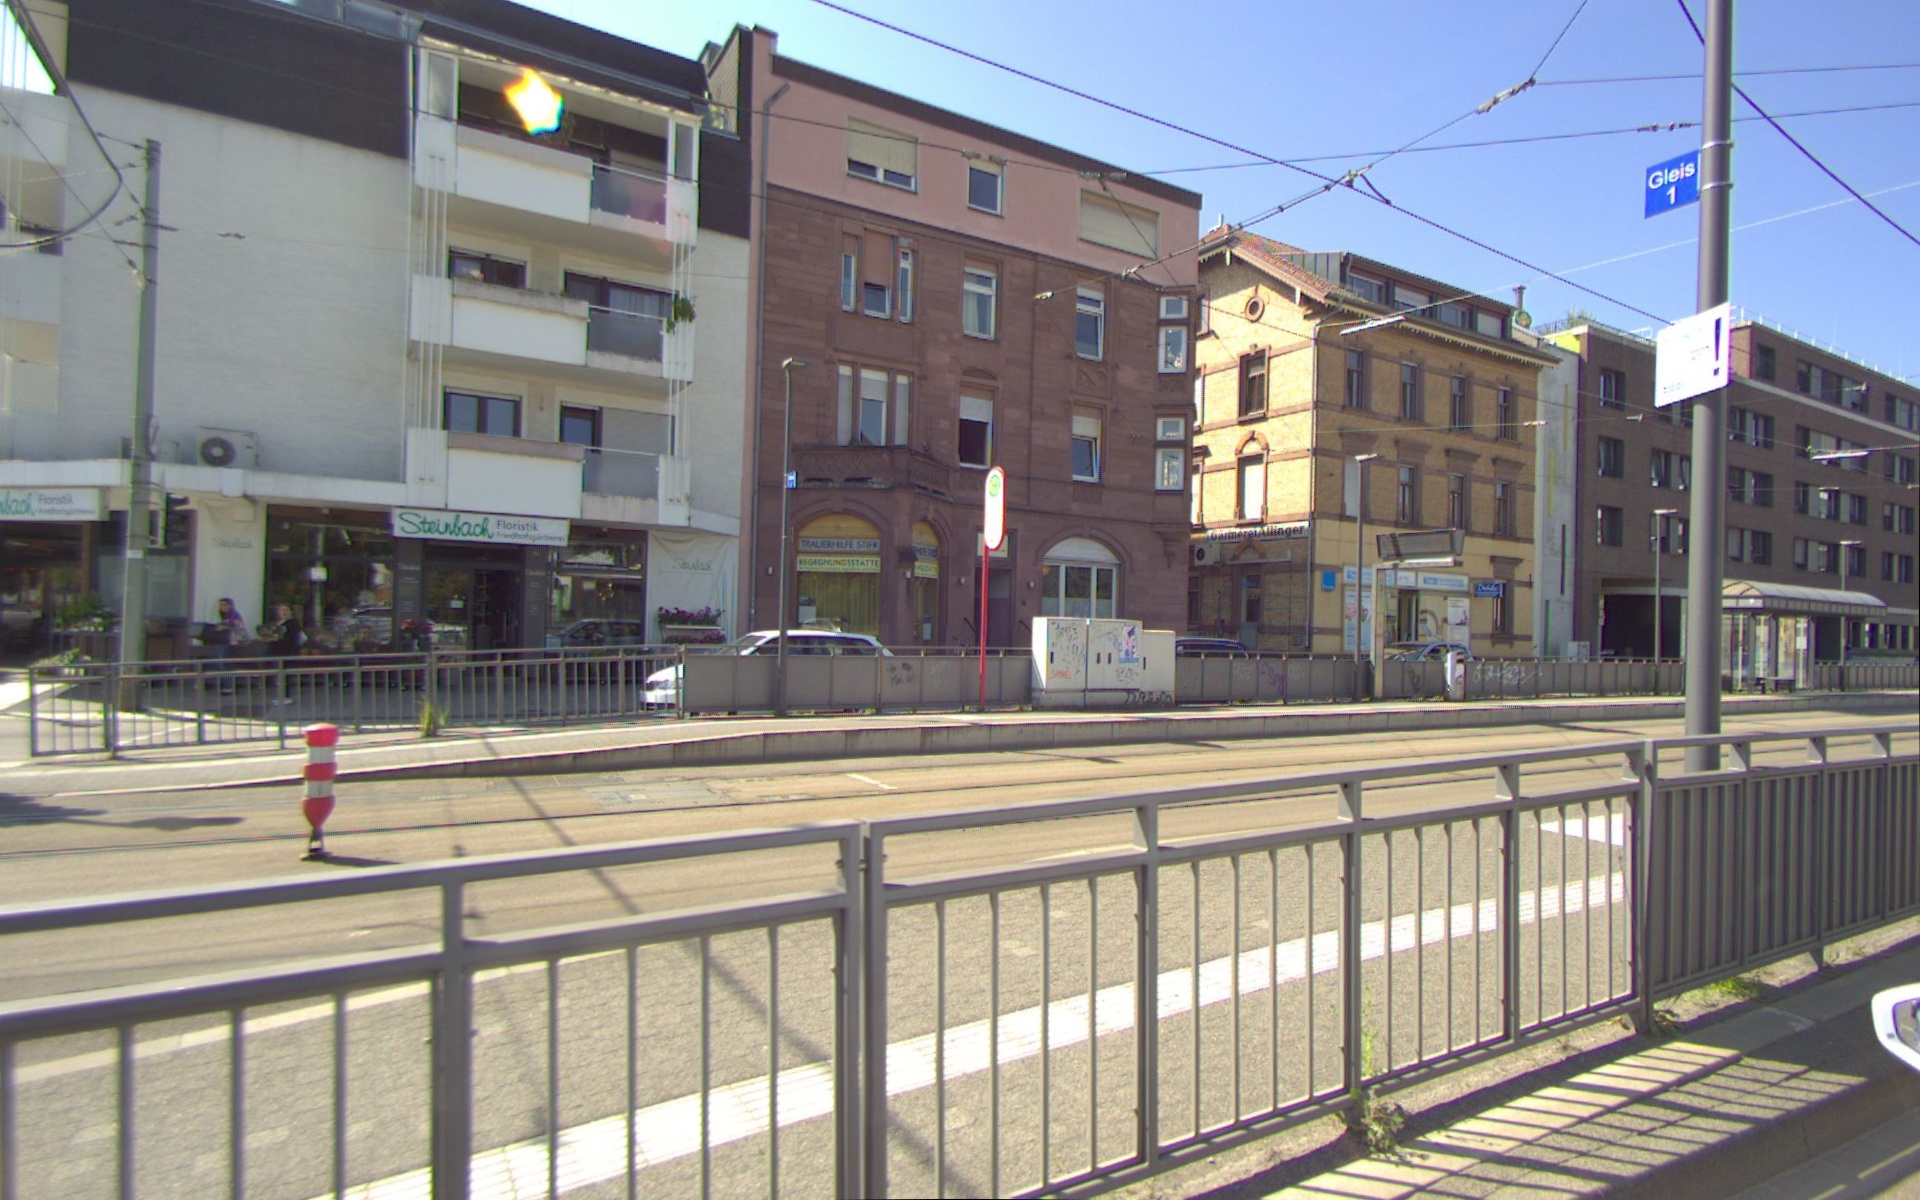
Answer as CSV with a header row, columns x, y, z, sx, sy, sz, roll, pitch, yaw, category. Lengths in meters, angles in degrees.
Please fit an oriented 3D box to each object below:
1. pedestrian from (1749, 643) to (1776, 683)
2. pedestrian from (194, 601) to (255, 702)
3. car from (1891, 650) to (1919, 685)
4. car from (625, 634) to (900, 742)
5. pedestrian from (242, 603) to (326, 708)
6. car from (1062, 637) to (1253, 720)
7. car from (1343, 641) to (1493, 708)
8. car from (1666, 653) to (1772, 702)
x,y,z,sx,sy,sz,roll,pitch,yaw,category
37.279,2.937,46.654,0.953,1.814,0.721,2,-2,-31,pedestrian
-12.521,0.875,17.118,0.724,1.669,0.675,2,-2,-31,pedestrian
42.197,2.942,43.750,3.697,1.478,1.564,3,-2,-32,car
-3.059,1.342,15.827,3.920,1.450,1.616,3,-1,-33,car
-11.189,0.902,16.637,0.667,1.669,0.881,1,-2,14,pedestrian
3.995,1.537,20.087,3.775,1.478,1.563,3,-2,-34,car
11.164,1.783,24.430,3.697,1.478,1.564,3,-2,-32,car
25.145,2.540,33.248,3.892,1.478,1.564,3,-2,-32,car
